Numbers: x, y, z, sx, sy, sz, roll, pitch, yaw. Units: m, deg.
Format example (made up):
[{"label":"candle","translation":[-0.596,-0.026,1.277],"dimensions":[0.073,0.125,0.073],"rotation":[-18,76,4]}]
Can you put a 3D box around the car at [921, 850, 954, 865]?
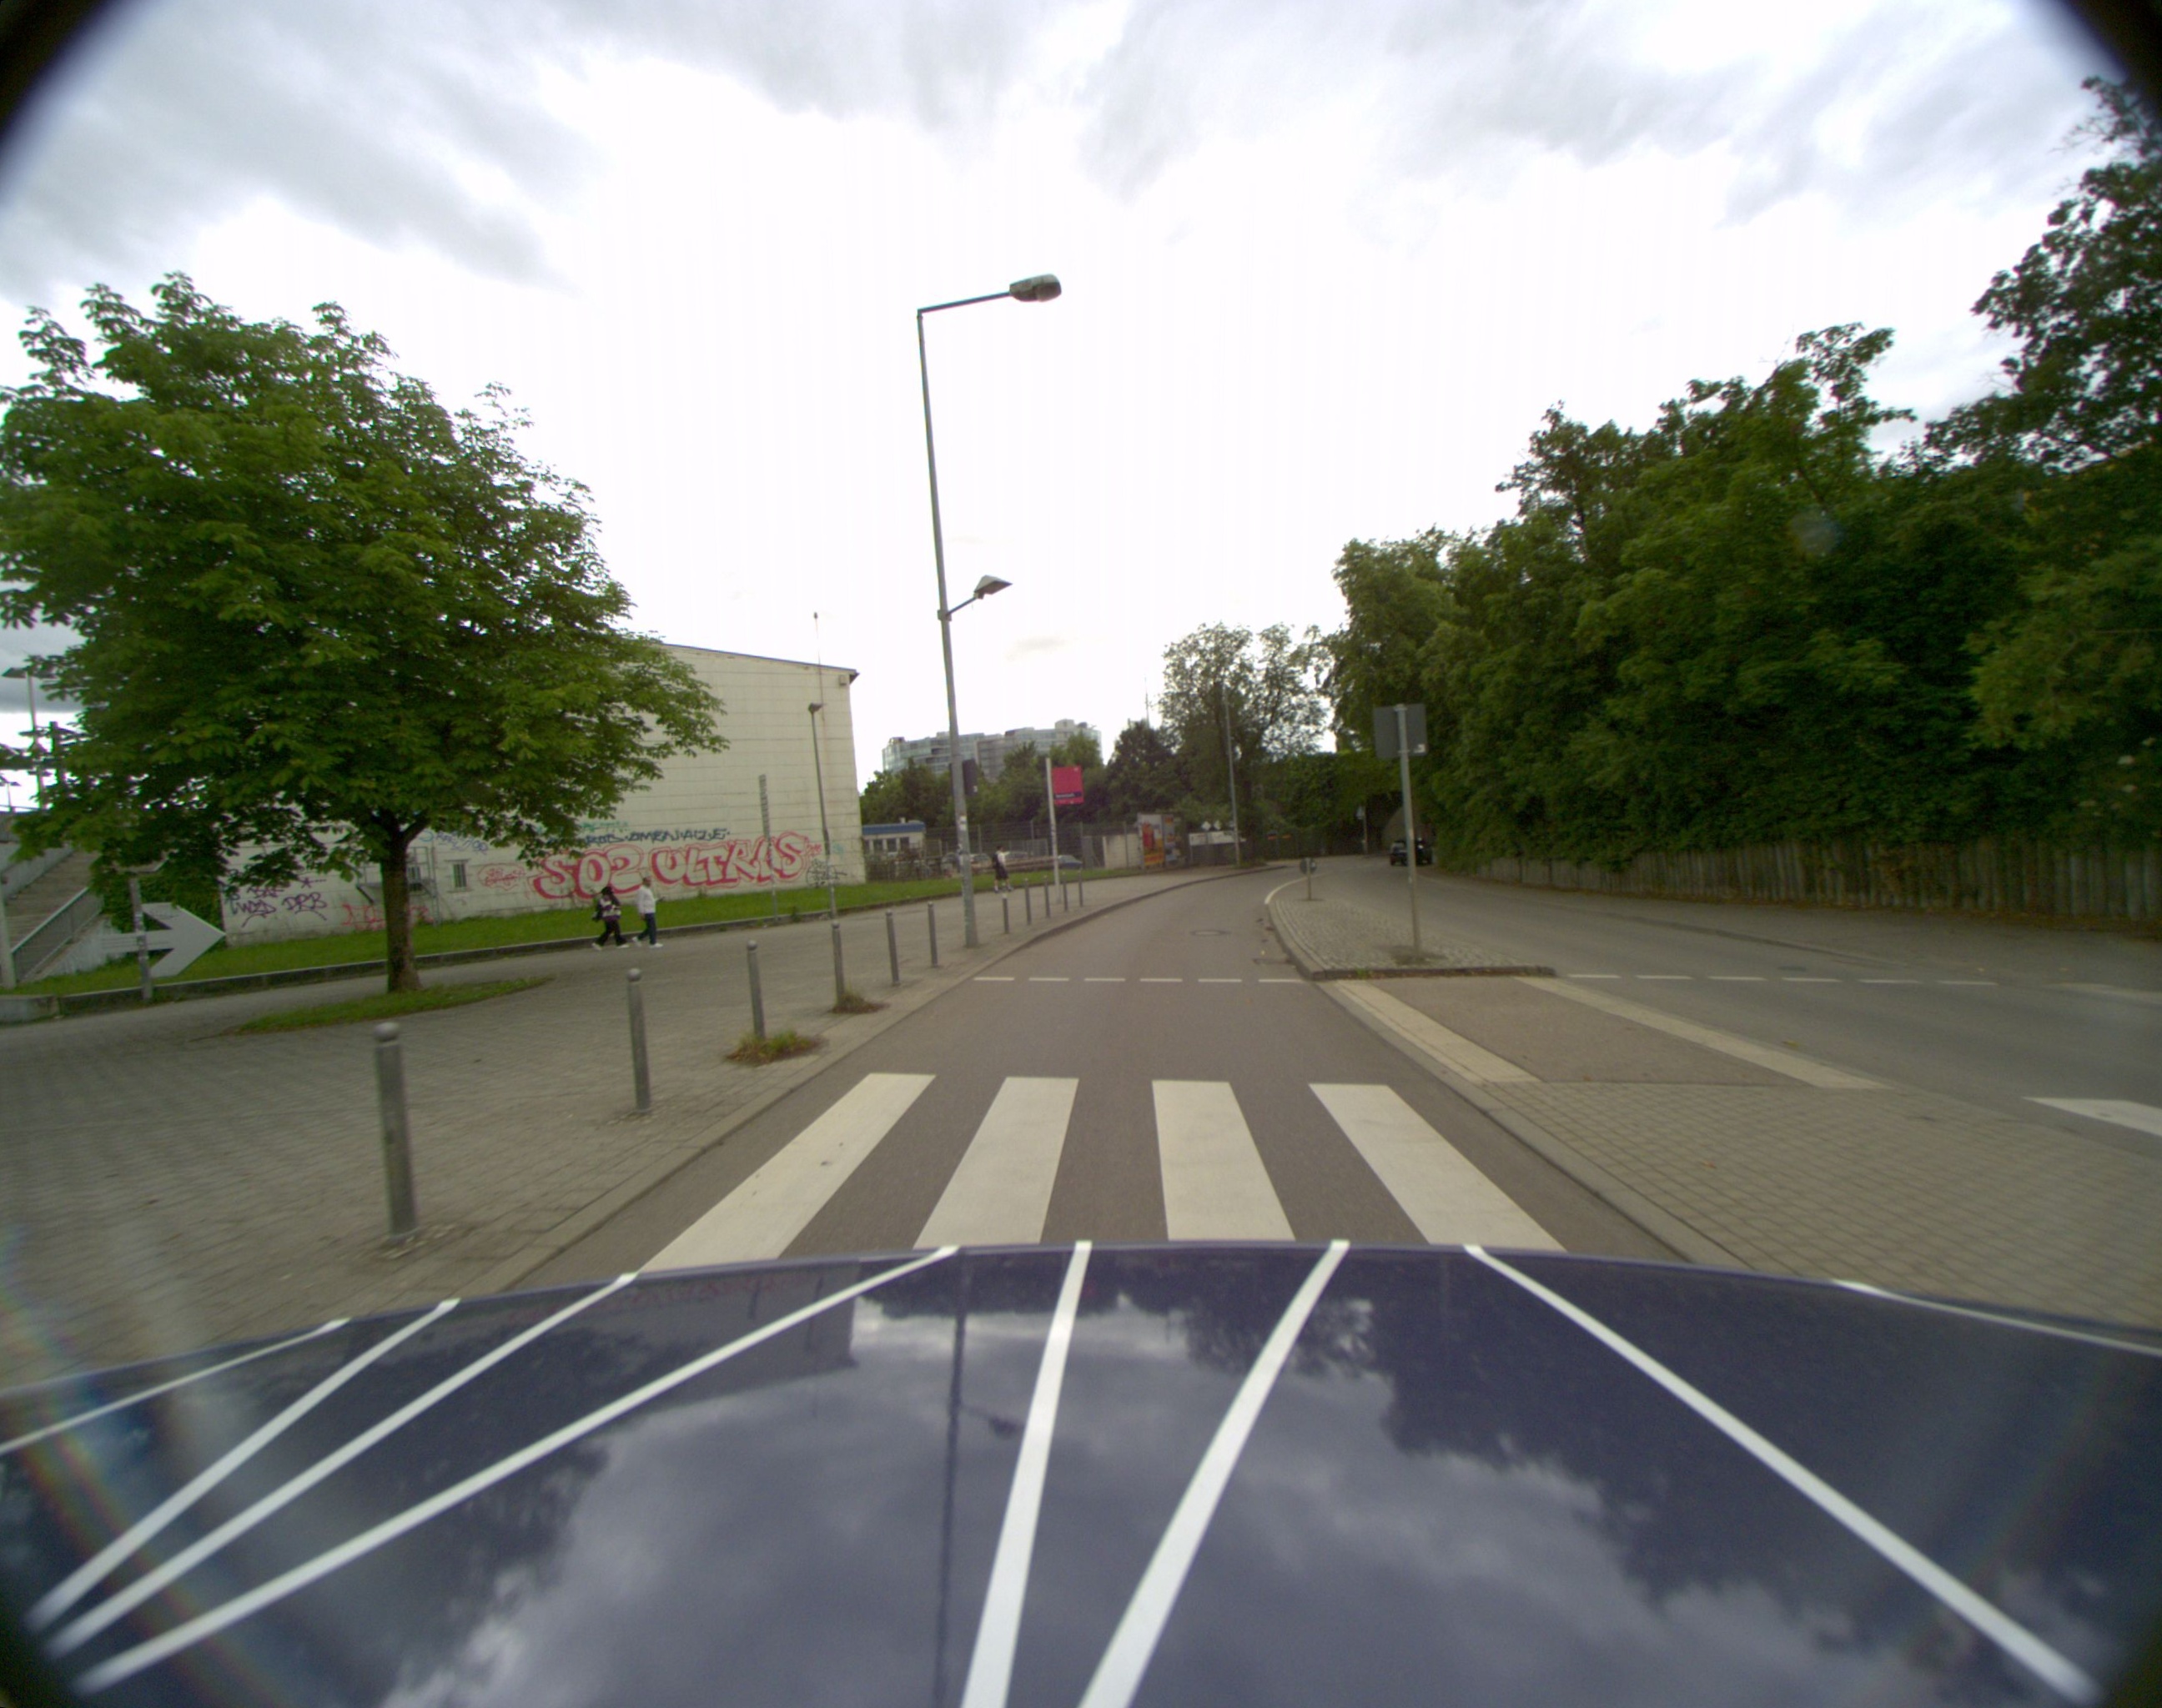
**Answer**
[{"label":"car","translation":[-13.143,0.313,69.468],"dimensions":[1.533,1.324,3.674],"rotation":[-2,0,-36]}]

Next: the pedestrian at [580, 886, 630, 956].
[{"label":"pedestrian","translation":[-11.593,1.603,18.505],"dimensions":[0.803,1.574,0.800],"rotation":[-6,3,-41]}]

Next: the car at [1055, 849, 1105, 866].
[{"label":"car","translation":[-0.066,0.265,56.646],"dimensions":[3.376,1.245,1.468],"rotation":[-1,1,-31]}]

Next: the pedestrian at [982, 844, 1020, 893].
[{"label":"pedestrian","translation":[-2.882,0.515,27.402],"dimensions":[0.848,1.675,0.941],"rotation":[-1,4,45]}]

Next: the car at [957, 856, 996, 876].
[{"label":"car","translation":[-8.091,0.941,58.664],"dimensions":[1.809,1.369,3.790],"rotation":[-4,1,-26]}]

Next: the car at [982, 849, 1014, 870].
[{"label":"car","translation":[-6.130,0.410,55.715],"dimensions":[1.373,1.431,2.848],"rotation":[-2,0,-26]}]

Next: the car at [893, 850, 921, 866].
[{"label":"car","translation":[-15.624,0.350,68.036],"dimensions":[1.340,1.324,3.303],"rotation":[-2,0,-33]}]

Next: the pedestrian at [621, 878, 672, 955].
[{"label":"pedestrian","translation":[-10.234,1.453,17.894],"dimensions":[0.750,1.693,0.814],"rotation":[-6,3,-41]}]

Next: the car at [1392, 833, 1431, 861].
[{"label":"car","translation":[19.993,-0.438,45.911],"dimensions":[1.803,1.601,4.184],"rotation":[0,1,28]}]

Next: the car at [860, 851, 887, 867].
[{"label":"car","translation":[-18.341,0.473,66.998],"dimensions":[1.340,1.324,3.303],"rotation":[-2,0,-33]}]

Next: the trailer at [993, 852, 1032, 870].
[{"label":"trailer","translation":[-4.823,0.516,53.328],"dimensions":[1.851,1.131,2.634],"rotation":[-4,1,-27]}]

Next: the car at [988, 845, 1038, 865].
[{"label":"car","translation":[-5.585,0.058,62.581],"dimensions":[3.817,1.523,1.561],"rotation":[-1,1,-31]}]
